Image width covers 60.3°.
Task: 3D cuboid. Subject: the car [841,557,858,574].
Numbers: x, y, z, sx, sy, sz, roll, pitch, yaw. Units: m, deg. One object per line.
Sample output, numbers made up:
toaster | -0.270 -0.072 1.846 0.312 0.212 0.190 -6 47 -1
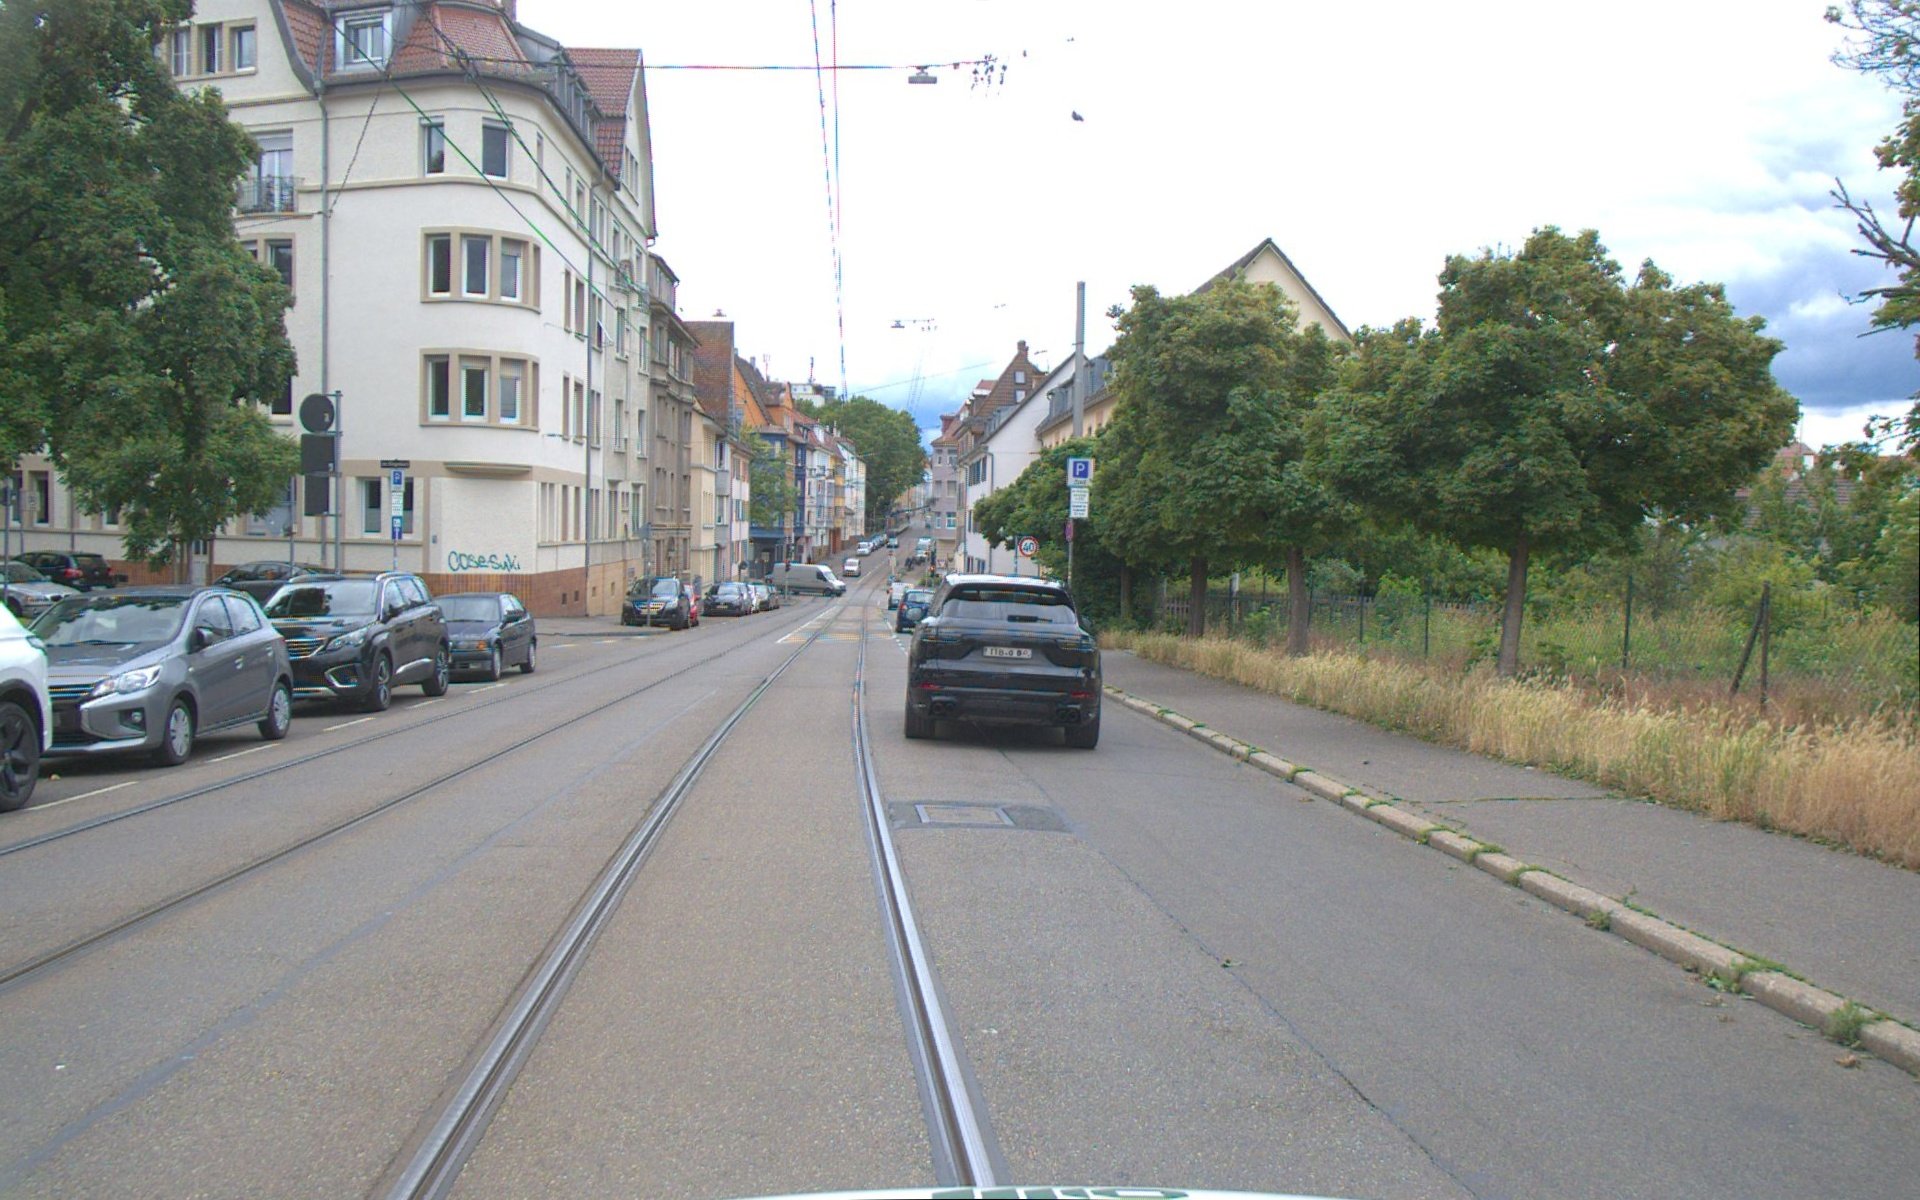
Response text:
car | -12.354 -3.802 185.101 1.716 1.790 4.252 1 0 -2

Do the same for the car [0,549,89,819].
car | -6.969 0.513 9.310 1.930 1.716 4.629 1 -1 -4

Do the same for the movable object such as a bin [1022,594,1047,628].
movable object such as a bin | 2.758 0.417 61.440 0.777 1.239 0.788 1 0 -7

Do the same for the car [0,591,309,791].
car | -7.268 0.719 14.650 1.704 1.535 3.866 1 -1 -4

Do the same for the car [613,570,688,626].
car | -9.721 -0.037 52.262 1.831 1.674 4.398 1 -1 -4

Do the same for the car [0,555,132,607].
car | -25.791 -0.539 47.066 3.906 1.378 1.876 2 0 23

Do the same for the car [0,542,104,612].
car | -22.715 -0.585 39.711 3.907 1.464 1.760 4 2 23

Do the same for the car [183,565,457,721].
car | -7.757 0.501 20.544 1.930 1.716 4.440 1 -1 -4

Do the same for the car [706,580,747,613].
car | -10.827 -0.155 76.929 1.589 1.489 4.029 1 -1 -4

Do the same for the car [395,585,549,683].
car | -8.008 0.543 27.463 1.589 1.503 4.152 1 -1 -4

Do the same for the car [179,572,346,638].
car | -18.479 0.123 43.816 3.906 1.599 1.876 2 0 23

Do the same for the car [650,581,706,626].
car | -9.897 0.137 58.305 1.589 1.489 3.742 1 -1 -4

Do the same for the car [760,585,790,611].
car | -10.744 -0.093 96.302 1.589 1.499 4.551 1 -1 -4

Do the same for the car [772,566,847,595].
car | -12.952 -1.690 142.667 6.156 2.330 2.200 1 0 25

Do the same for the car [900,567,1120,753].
car | 0.407 0.561 17.556 1.954 1.705 3.997 1 0 -3

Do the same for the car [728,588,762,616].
car | -11.409 0.118 87.959 1.589 1.489 3.681 1 -1 -4
